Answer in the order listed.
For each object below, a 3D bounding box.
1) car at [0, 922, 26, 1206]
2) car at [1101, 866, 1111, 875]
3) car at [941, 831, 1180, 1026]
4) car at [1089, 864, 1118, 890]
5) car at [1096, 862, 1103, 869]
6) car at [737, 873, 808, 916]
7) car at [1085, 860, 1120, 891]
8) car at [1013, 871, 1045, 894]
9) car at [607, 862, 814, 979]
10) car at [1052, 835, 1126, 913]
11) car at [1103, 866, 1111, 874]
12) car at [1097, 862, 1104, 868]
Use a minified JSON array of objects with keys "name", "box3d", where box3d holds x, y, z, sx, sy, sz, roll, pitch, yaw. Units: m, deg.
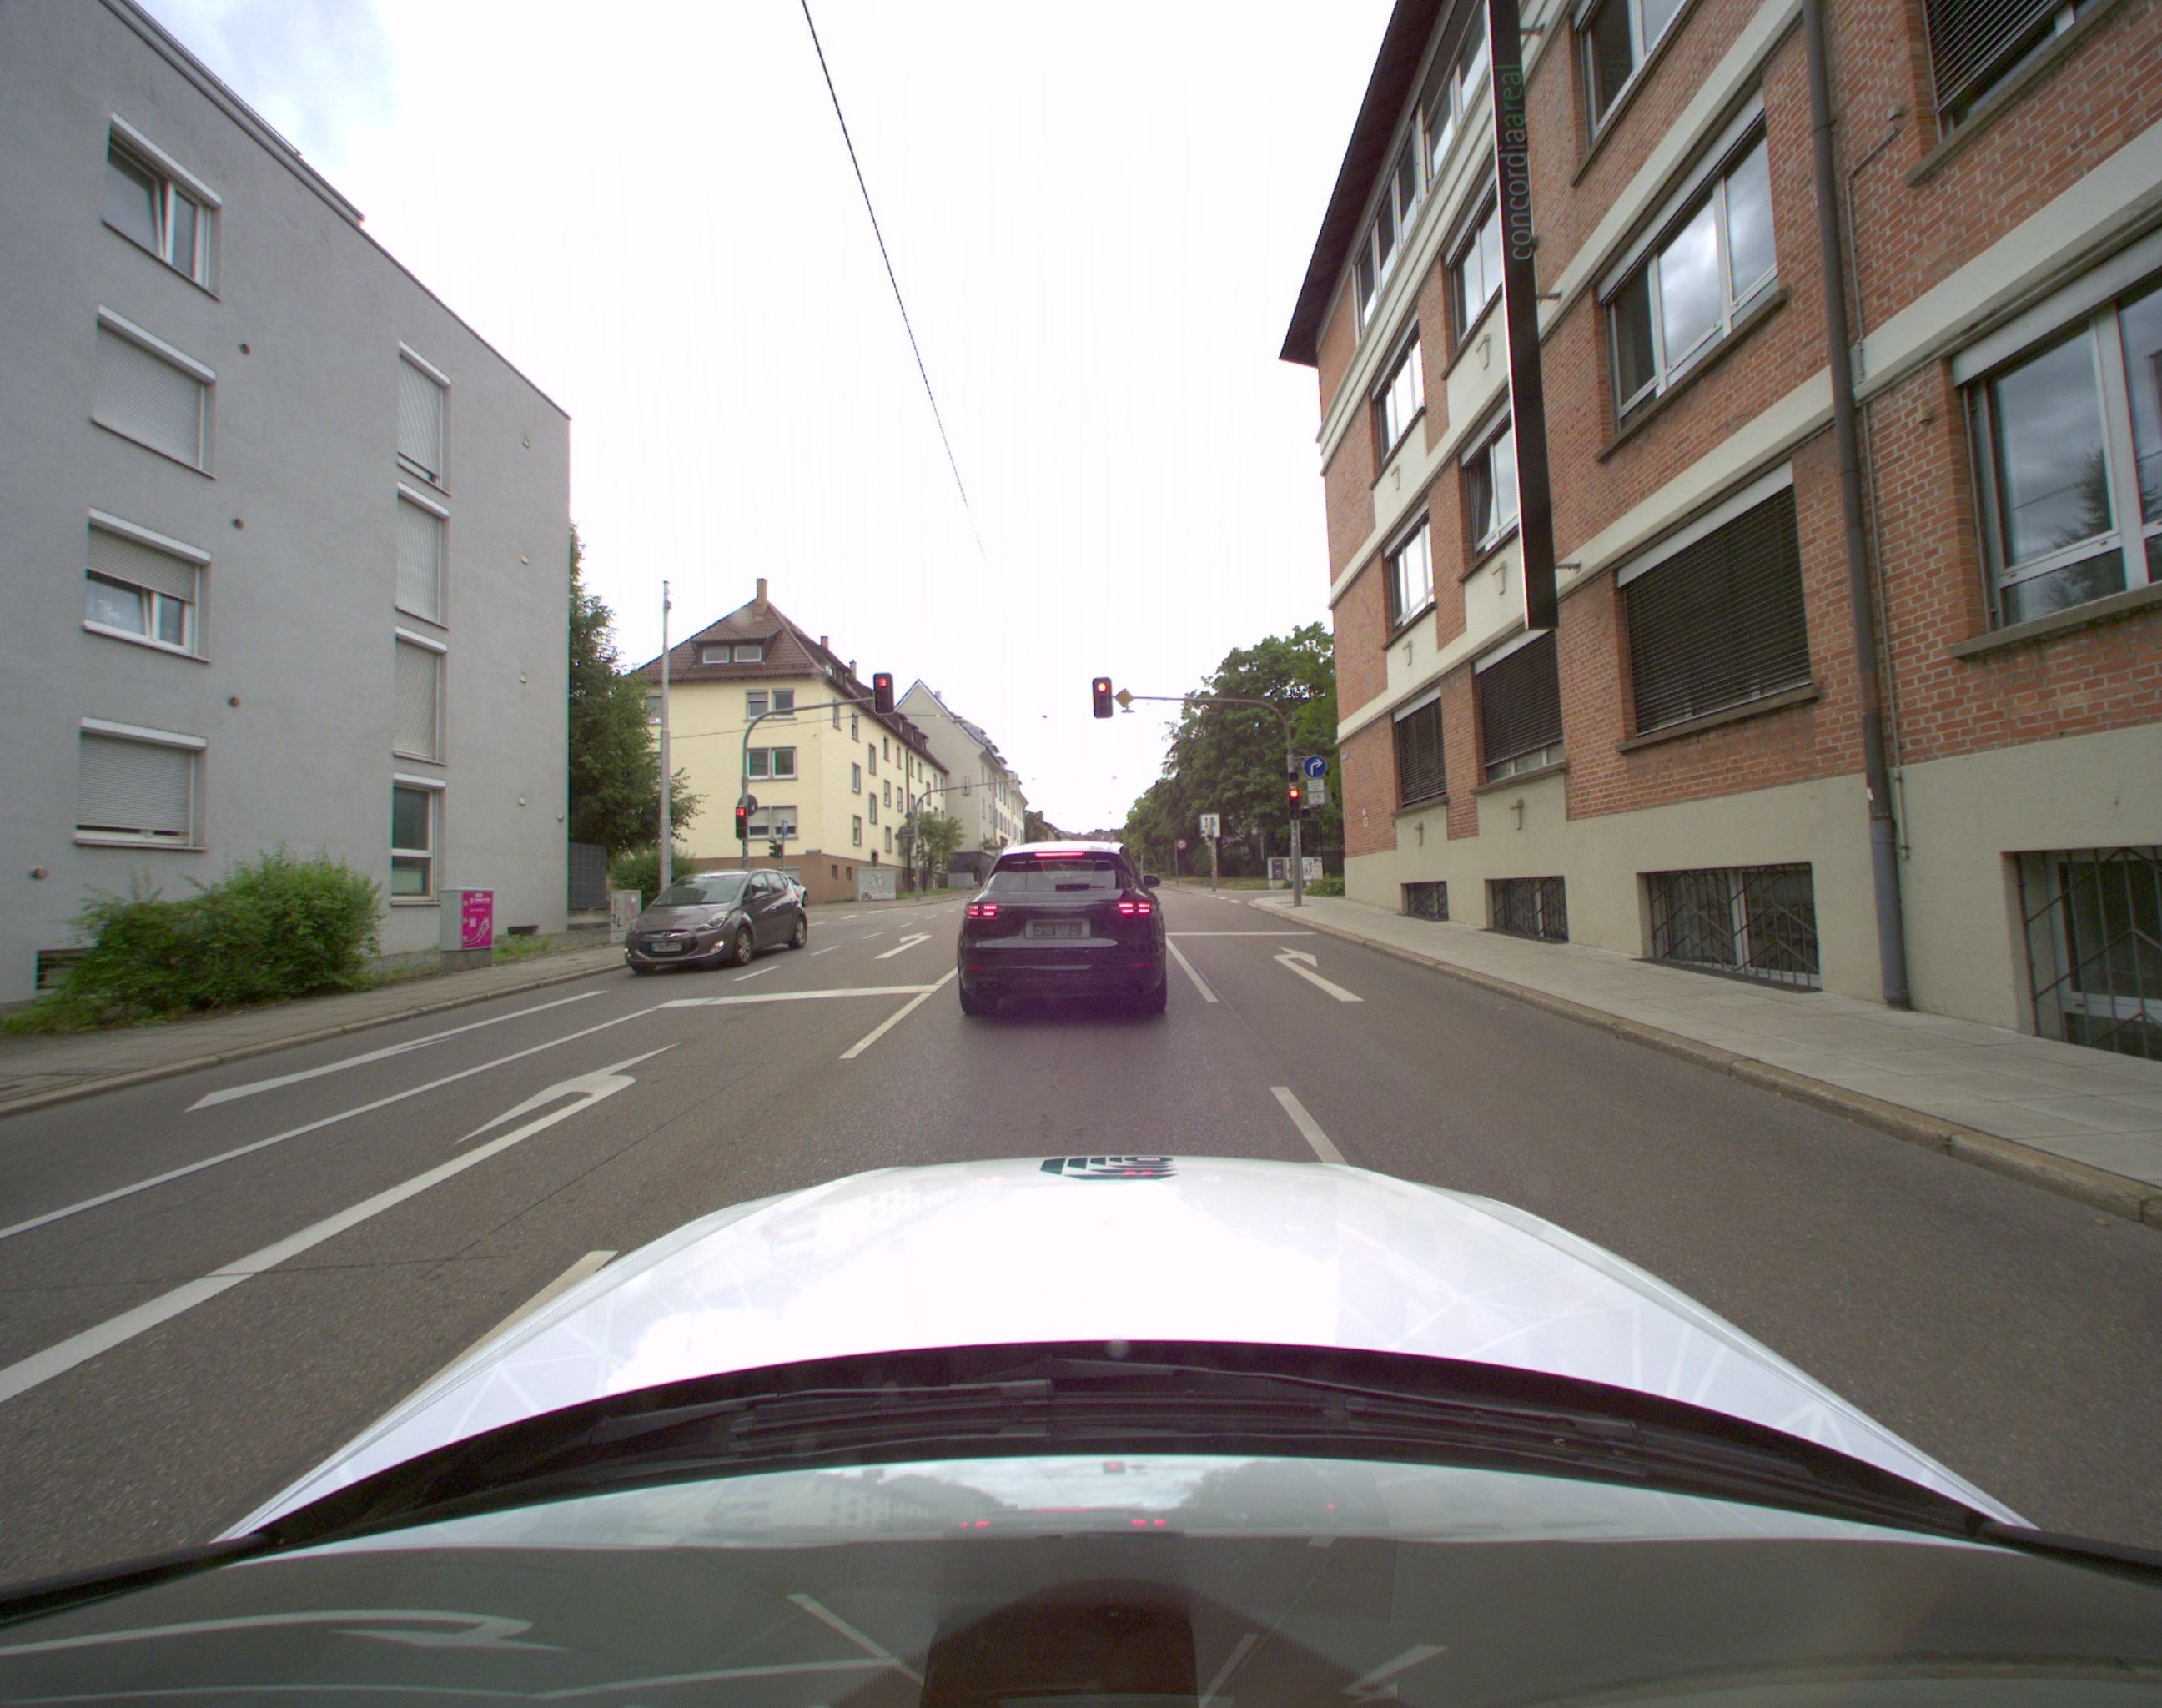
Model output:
[{"name":"car","box3d":[-6.169,1.102,2.190,1.669,1.400,3.791,-4,0,-2]},{"name":"car","box3d":[4.948,3.316,161.676,1.820,1.605,4.137,0,0,2]},{"name":"car","box3d":[-0.097,0.639,9.124,2.040,1.666,4.269,-1,0,2]},{"name":"car","box3d":[1.522,1.520,54.401,1.820,1.605,3.861,0,0,2]},{"name":"car","box3d":[4.701,2.873,204.822,1.820,1.605,4.137,0,0,2]},{"name":"car","box3d":[-13.510,1.740,35.856,1.686,1.555,3.763,-4,0,-2]},{"name":"car","box3d":[1.234,1.158,45.690,1.820,1.605,4.137,0,0,2]},{"name":"car","box3d":[-3.725,1.998,58.759,1.778,1.418,4.672,-4,-1,2]},{"name":"car","box3d":[-6.226,1.026,14.244,1.698,1.587,3.936,-4,0,0]},{"name":"car","box3d":[0.282,0.532,23.782,1.957,2.042,4.137,0,0,2]},{"name":"car","box3d":[5.915,3.650,184.301,1.820,1.605,4.137,0,0,2]},{"name":"car","box3d":[5.119,2.833,212.143,1.820,1.605,4.137,0,0,2]}]
